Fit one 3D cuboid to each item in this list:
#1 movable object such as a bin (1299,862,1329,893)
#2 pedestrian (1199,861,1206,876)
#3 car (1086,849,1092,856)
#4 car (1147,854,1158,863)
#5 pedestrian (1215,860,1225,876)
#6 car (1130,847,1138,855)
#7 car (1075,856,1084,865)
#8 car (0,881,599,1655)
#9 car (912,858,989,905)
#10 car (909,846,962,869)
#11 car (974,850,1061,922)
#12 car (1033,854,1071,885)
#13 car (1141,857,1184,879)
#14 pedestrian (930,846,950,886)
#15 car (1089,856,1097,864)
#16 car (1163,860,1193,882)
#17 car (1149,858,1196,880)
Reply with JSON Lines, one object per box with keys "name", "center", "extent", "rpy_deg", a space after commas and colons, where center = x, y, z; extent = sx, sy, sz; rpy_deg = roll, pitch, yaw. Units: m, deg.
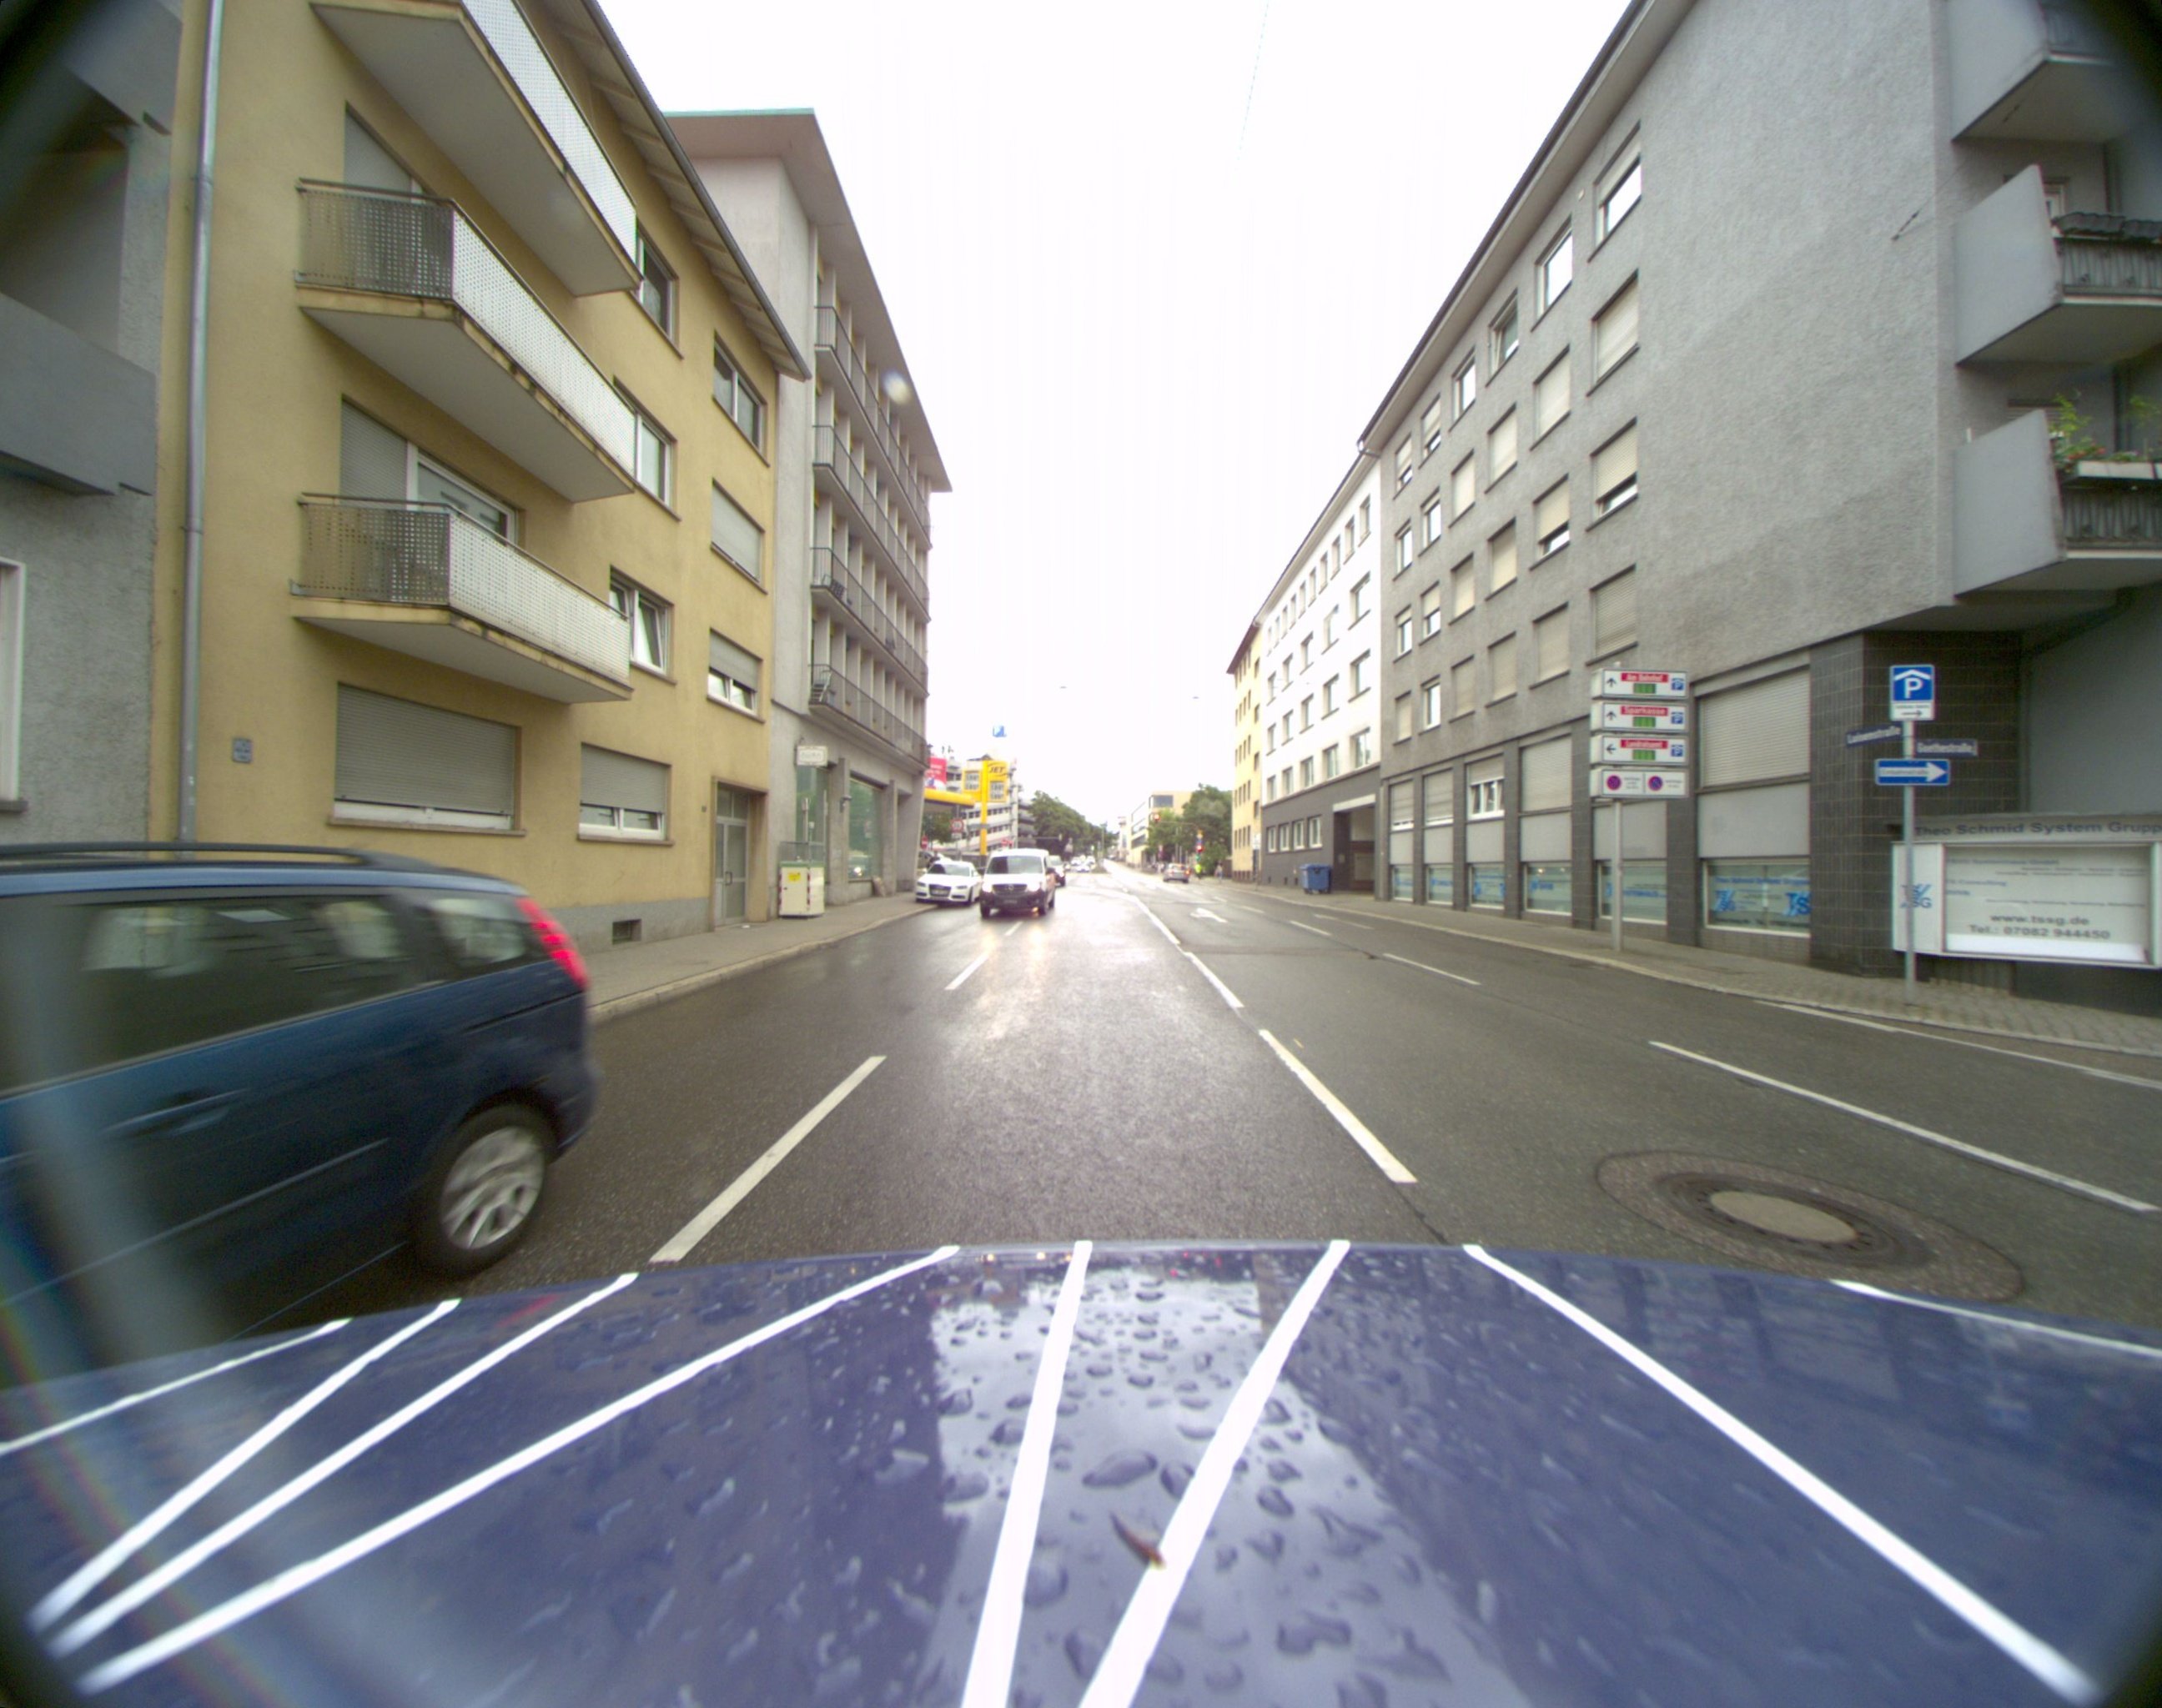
{"name": "movable object such as a bin", "center": [10.339, 1.039, 33.696], "extent": [0.946, 1.325, 1.096], "rpy_deg": [-3, 0, 1]}
{"name": "pedestrian", "center": [10.941, 1.315, 68.415], "extent": [0.442, 1.362, 0.535], "rpy_deg": [3, 1, 2]}
{"name": "car", "center": [2.819, -0.507, 262.022], "extent": [1.998, 2.002, 3.999], "rpy_deg": [-2, 1, 1]}
{"name": "car", "center": [15.768, 0.890, 166.962], "extent": [1.998, 1.863, 3.999], "rpy_deg": [-2, 1, 1]}
{"name": "pedestrian", "center": [10.188, 1.032, 55.732], "extent": [0.582, 1.143, 0.407], "rpy_deg": [3, 1, 6]}
{"name": "car", "center": [13.219, -0.755, 189.810], "extent": [1.998, 1.683, 4.000], "rpy_deg": [-2, 1, 2]}
{"name": "car", "center": [-0.371, 1.545, 184.265], "extent": [1.998, 2.002, 3.999], "rpy_deg": [-2, 1, 1]}
{"name": "car", "center": [-3.273, 0.958, 1.461], "extent": [1.812, 1.597, 4.212], "rpy_deg": [-2, 0, 3]}
{"name": "car", "center": [-4.364, 0.882, 26.015], "extent": [1.803, 1.427, 4.166], "rpy_deg": [1, 0, 1]}
{"name": "car", "center": [-10.284, 0.264, 53.476], "extent": [1.775, 1.465, 3.989], "rpy_deg": [-3, 0, -42]}
{"name": "car", "center": [-1.660, 0.799, 21.649], "extent": [1.945, 1.764, 4.746], "rpy_deg": [-2, 0, 1]}
{"name": "car", "center": [-1.499, 0.796, 40.734], "extent": [1.771, 1.571, 4.000], "rpy_deg": [-1, 0, 1]}
{"name": "car", "center": [7.500, 1.258, 70.108], "extent": [3.794, 1.823, 1.692], "rpy_deg": [-3, 0, 2]}
{"name": "pedestrian", "center": [-6.338, 0.537, 34.104], "extent": [0.679, 1.745, 0.888], "rpy_deg": [1, 1, 2]}
{"name": "car", "center": [2.997, 1.455, 192.084], "extent": [1.998, 1.736, 3.999], "rpy_deg": [-2, 1, 1]}
{"name": "car", "center": [7.495, 1.269, 59.053], "extent": [1.883, 1.580, 4.373], "rpy_deg": [0, 0, 1]}
{"name": "car", "center": [8.093, 1.330, 67.694], "extent": [3.928, 1.706, 1.902], "rpy_deg": [-3, 0, 2]}
